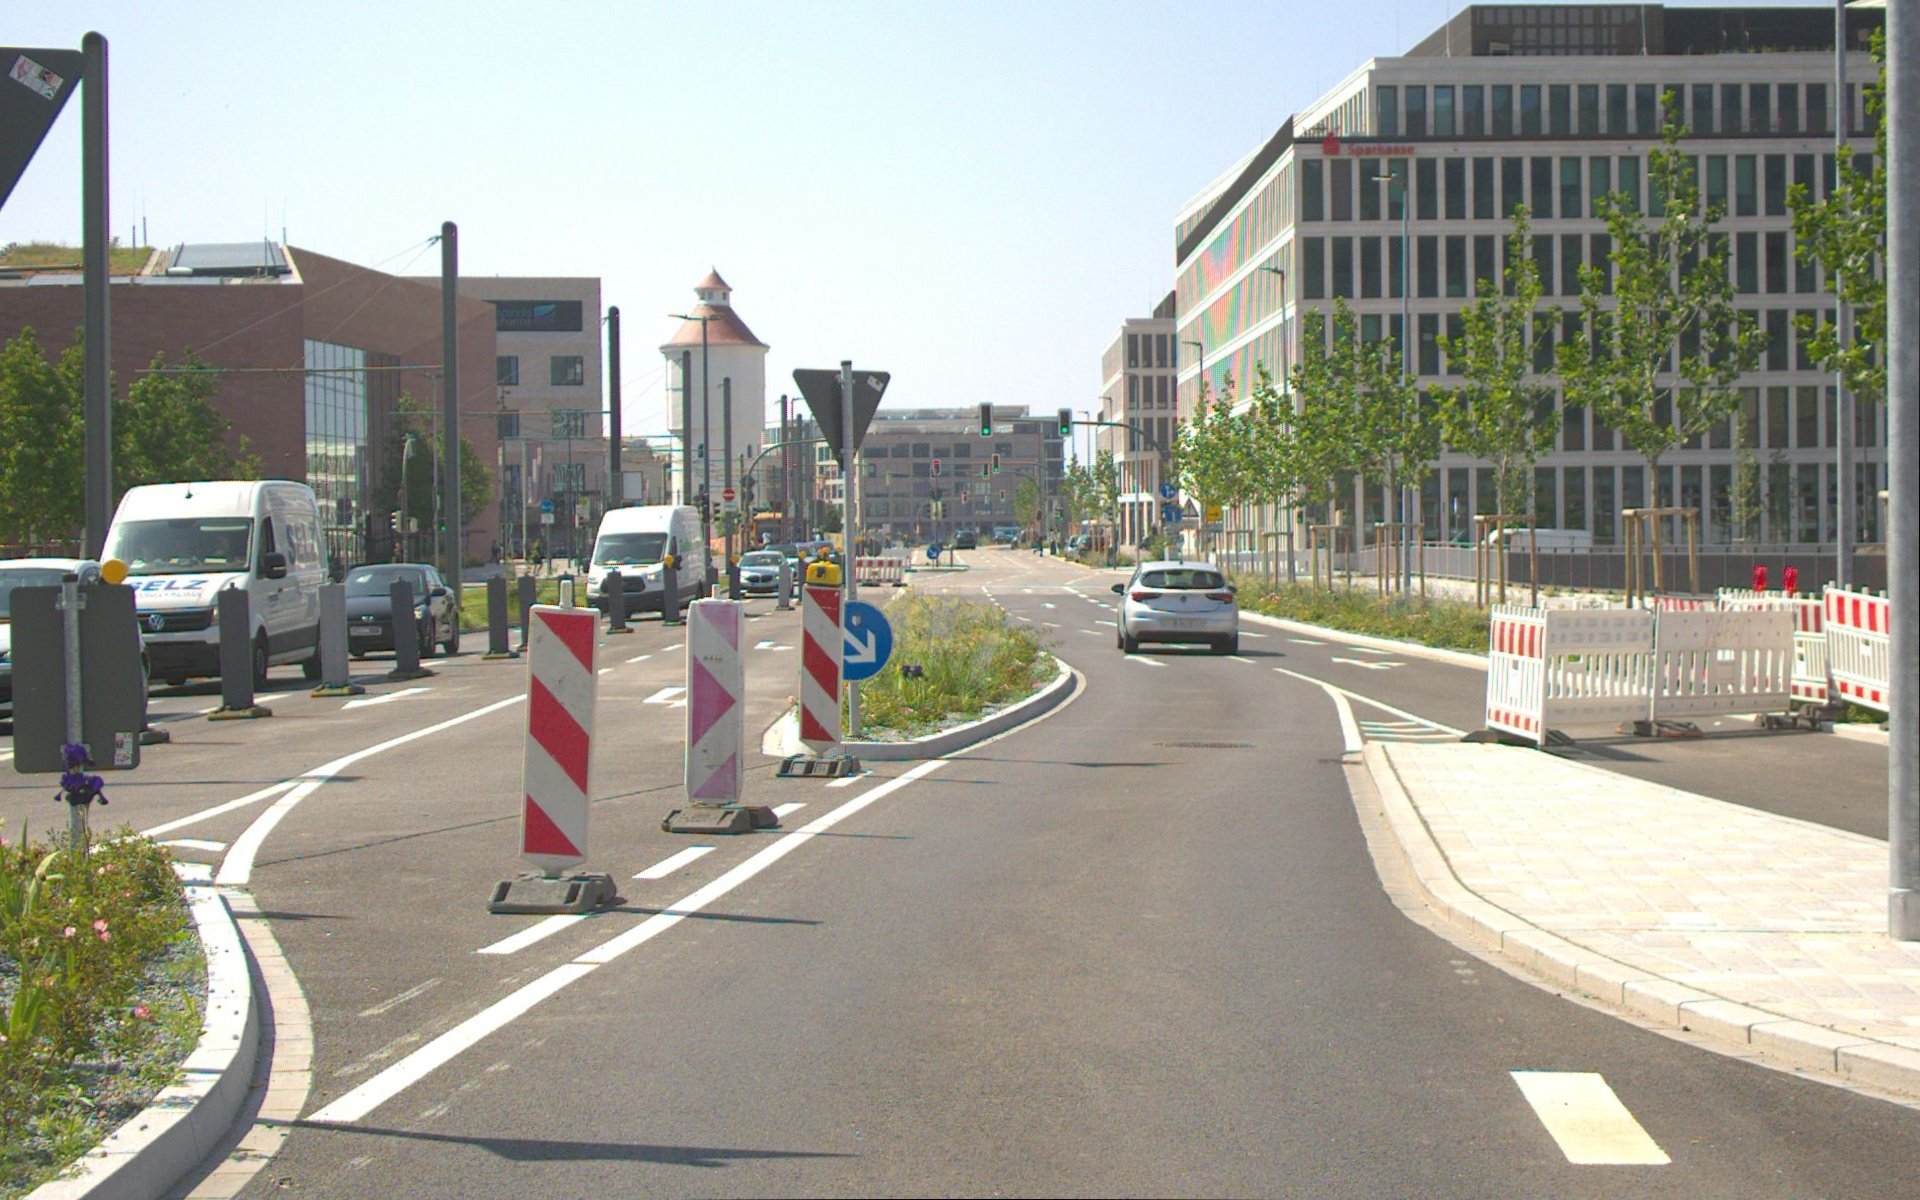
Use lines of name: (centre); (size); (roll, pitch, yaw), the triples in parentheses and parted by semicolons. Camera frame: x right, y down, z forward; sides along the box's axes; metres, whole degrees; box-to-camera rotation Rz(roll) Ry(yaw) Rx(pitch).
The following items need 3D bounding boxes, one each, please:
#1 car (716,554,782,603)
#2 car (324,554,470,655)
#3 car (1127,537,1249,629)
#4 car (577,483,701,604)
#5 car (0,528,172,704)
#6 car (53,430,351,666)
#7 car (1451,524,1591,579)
car: (-6.607, -0.686, 108.017); (1.673, 1.438, 4.468); (-2, 1, 1)
car: (-8.836, 0.044, 54.197); (1.545, 1.452, 4.193); (-2, 1, 0)
car: (3.595, -0.267, 54.633); (1.771, 1.390, 3.531); (1, 0, 2)
car: (-7.702, -1.365, 83.033); (2.077, 2.730, 5.986); (-2, 1, 3)
car: (-8.726, 0.138, 32.451); (1.580, 1.536, 3.978); (-3, 1, 0)
car: (-9.126, -0.624, 41.978); (2.030, 2.570, 6.194); (-3, 1, 1)
car: (25.014, -2.169, 153.382); (5.836, 2.262, 2.147); (2, 1, 0)
